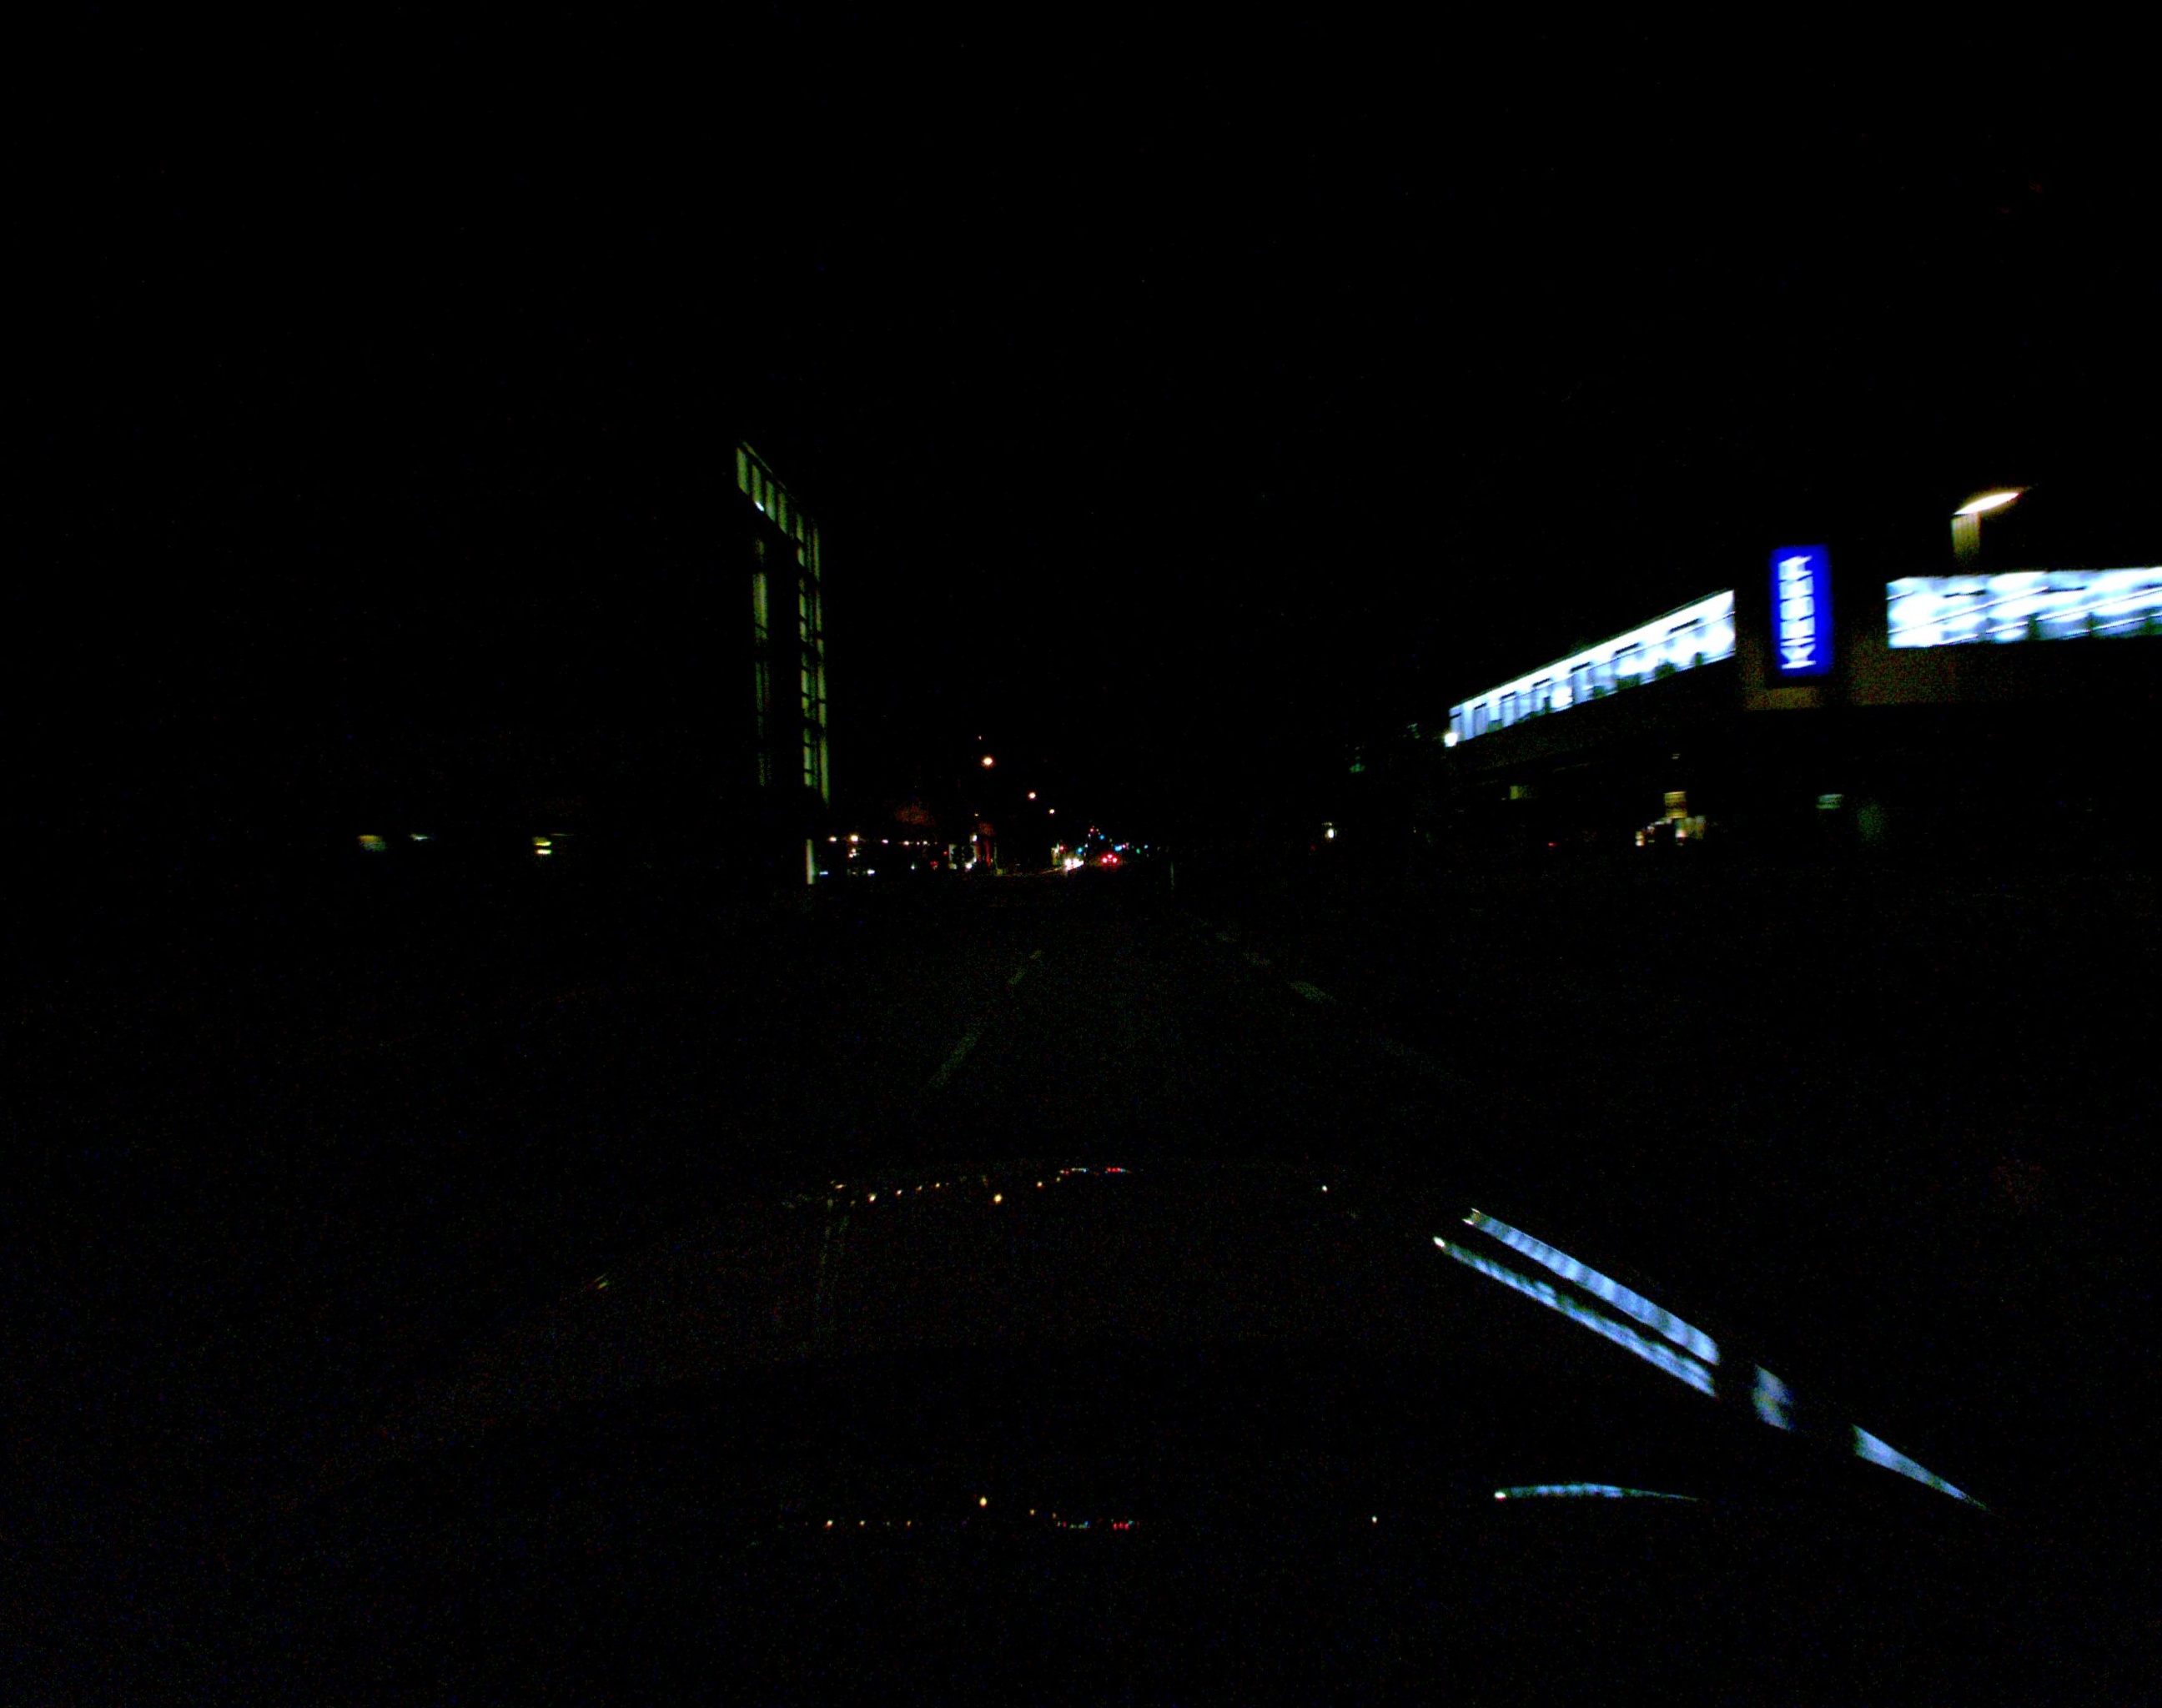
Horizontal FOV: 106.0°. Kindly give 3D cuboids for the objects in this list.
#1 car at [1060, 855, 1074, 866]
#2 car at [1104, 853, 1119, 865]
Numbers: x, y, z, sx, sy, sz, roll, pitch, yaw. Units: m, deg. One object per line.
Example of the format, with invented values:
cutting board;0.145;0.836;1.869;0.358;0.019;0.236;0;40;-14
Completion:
car;-2.177;1.007;131.180;1.987;1.643;4.001;-4;0;1
car;4.424;0.748;119.078;1.986;1.643;4.002;-4;0;2
